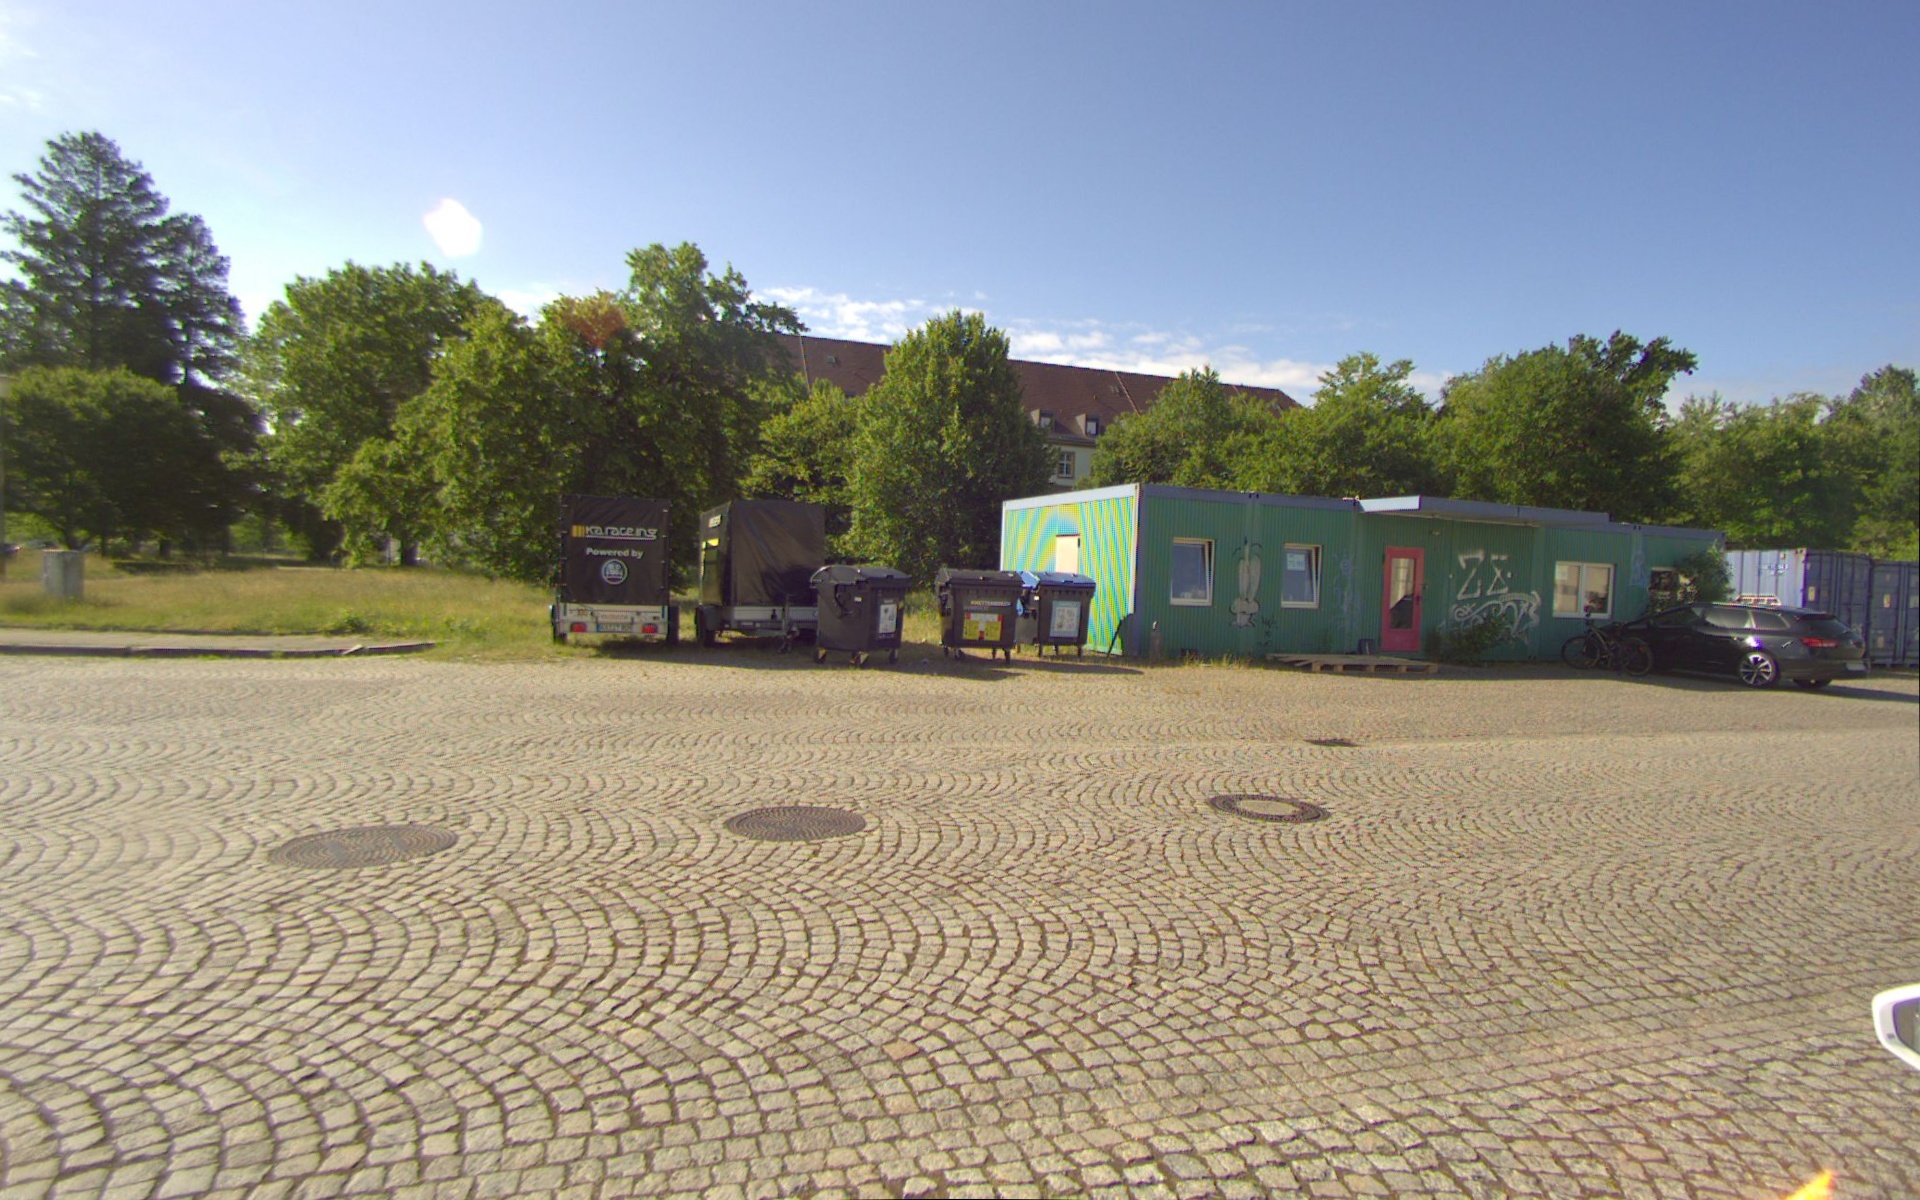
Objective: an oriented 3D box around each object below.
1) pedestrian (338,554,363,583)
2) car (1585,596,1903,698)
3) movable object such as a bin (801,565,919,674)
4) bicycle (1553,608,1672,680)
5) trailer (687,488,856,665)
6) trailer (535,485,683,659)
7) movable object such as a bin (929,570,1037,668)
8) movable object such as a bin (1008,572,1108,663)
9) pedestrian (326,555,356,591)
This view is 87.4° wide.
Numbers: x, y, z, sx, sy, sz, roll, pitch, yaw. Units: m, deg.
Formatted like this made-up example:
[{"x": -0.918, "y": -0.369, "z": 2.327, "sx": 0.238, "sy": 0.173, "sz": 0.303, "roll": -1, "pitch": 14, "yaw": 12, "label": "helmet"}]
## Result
[{"x": -43.145, "y": -2.239, "z": 71.125, "sx": 1.141, "sy": 1.955, "sz": 1.319, "roll": 2, "pitch": 2, "yaw": -17, "label": "pedestrian"}, {"x": 14.280, "y": 0.789, "z": 18.647, "sx": 1.902, "sy": 1.469, "sz": 4.245, "roll": 2, "pitch": 2, "yaw": -20, "label": "car"}, {"x": -1.462, "y": 0.254, "z": 14.945, "sx": 1.134, "sy": 1.477, "sz": 1.437, "roll": 4, "pitch": 2, "yaw": 24, "label": "movable object such as a bin"}, {"x": 12.287, "y": 0.810, "z": 18.985, "sx": 0.658, "sy": 1.186, "sz": 1.800, "roll": 2, "pitch": 2, "yaw": -20, "label": "bicycle"}, {"x": -3.402, "y": -0.435, "z": 17.320, "sx": 1.923, "sy": 2.602, "sz": 4.626, "roll": 2, "pitch": 2, "yaw": -22, "label": "trailer"}, {"x": -5.690, "y": -0.462, "z": 16.559, "sx": 2.012, "sy": 2.503, "sz": 3.382, "roll": 2, "pitch": 2, "yaw": -17, "label": "trailer"}, {"x": 0.351, "y": 0.295, "z": 16.094, "sx": 1.418, "sy": 1.477, "sz": 1.016, "roll": 2, "pitch": 2, "yaw": -19, "label": "movable object such as a bin"}, {"x": 1.684, "y": 0.291, "z": 17.347, "sx": 1.423, "sy": 1.477, "sz": 0.878, "roll": 1, "pitch": 3, "yaw": -29, "label": "movable object such as a bin"}, {"x": -34.916, "y": -1.552, "z": 56.672, "sx": 1.141, "sy": 1.955, "sz": 1.123, "roll": 2, "pitch": 2, "yaw": -17, "label": "pedestrian"}]
